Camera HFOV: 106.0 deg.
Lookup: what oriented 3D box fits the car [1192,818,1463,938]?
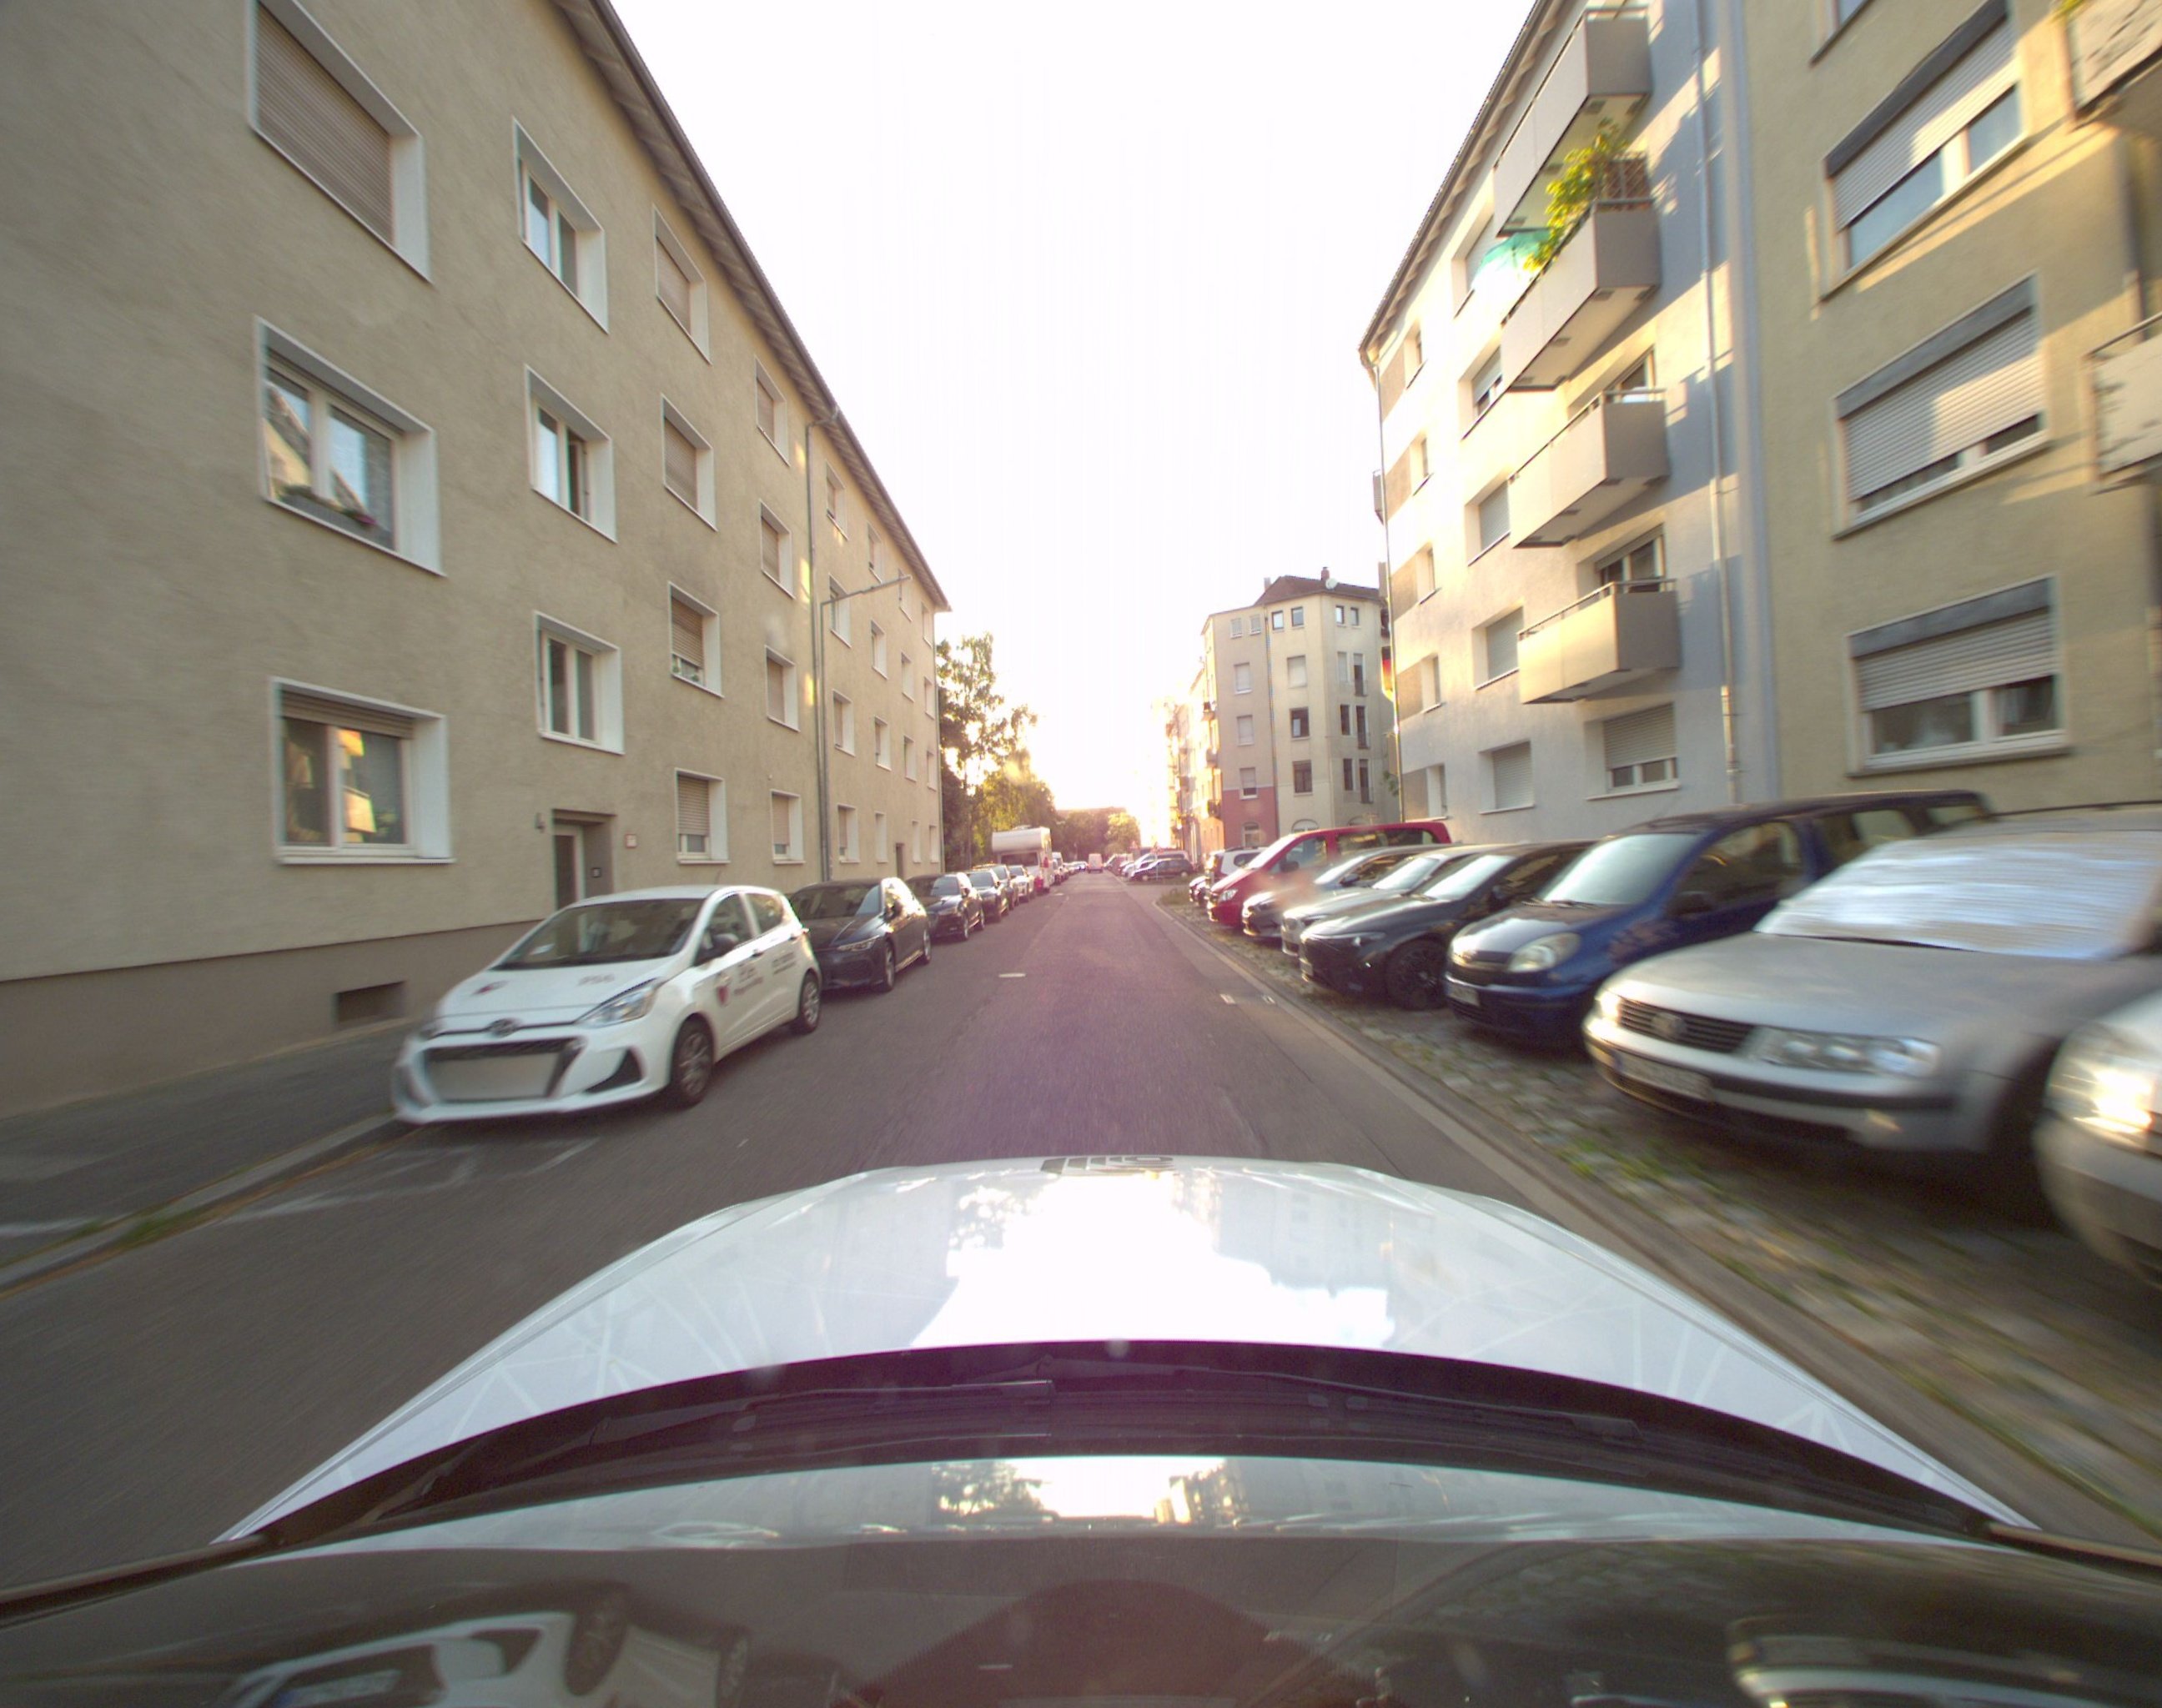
[{"bbox_3d":[4.759,0.450,16.299,4.707,1.909,2.059,-4,-1,0],"label":"car"}]

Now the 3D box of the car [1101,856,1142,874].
[{"bbox_3d":[4.016,1.122,81.067,3.974,1.530,1.659,-4,0,0],"label":"car"}]

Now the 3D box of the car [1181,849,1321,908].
[{"bbox_3d":[5.017,0.713,24.375,3.799,1.428,1.634,-4,-1,0],"label":"car"}]

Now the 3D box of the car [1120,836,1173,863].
[{"bbox_3d":[5.291,-0.372,65.821,3.978,2.013,1.998,-3,0,-3],"label":"car"}]

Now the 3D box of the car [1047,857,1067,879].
[{"bbox_3d":[-2.137,1.243,73.740,1.648,1.830,3.875,-4,0,-1],"label":"car"}]

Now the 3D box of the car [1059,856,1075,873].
[{"bbox_3d":[-1.661,1.252,97.156,1.648,1.830,3.875,-4,0,-1],"label":"car"}]

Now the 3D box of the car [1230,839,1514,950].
[{"bbox_3d":[4.766,0.647,13.744,4.132,1.471,1.636,-4,-1,0],"label":"car"}]

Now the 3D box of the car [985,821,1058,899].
[{"bbox_3d":[-2.748,0.248,39.897,2.610,3.268,7.699,-4,0,1],"label":"car"}]

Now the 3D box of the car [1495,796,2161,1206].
[{"bbox_3d":[4.497,0.526,4.069,3.941,1.522,1.706,-3,0,1],"label":"car"}]

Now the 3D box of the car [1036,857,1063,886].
[{"bbox_3d":[-2.162,1.202,56.829,1.648,1.830,3.875,-4,0,-1],"label":"car"}]

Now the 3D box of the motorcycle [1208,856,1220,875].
[{"bbox_3d":[9.150,0.768,56.186,0.515,1.228,1.981,-2,0,1],"label":"motorcycle"}]

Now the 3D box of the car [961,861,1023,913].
[{"bbox_3d":[-3.043,1.086,28.420,1.648,1.564,3.875,-4,0,-1],"label":"car"}]

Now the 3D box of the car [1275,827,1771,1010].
[{"bbox_3d":[4.430,0.630,8.650,4.293,1.449,1.655,-4,-1,1],"label":"car"}]

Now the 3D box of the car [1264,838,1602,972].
[{"bbox_3d":[4.662,0.647,11.167,3.864,1.416,1.635,-4,-1,-1],"label":"car"}]

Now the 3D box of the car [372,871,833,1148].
[{"bbox_3d":[-3.397,0.965,6.635,1.611,1.473,3.504,-4,0,-1],"label":"car"}]

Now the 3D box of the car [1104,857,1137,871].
[{"bbox_3d":[4.931,1.248,101.639,3.974,1.530,1.659,-4,0,0],"label":"car"}]

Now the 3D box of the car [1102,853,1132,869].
[{"bbox_3d":[5.918,1.200,135.789,4.797,2.408,1.739,-4,0,0],"label":"car"}]

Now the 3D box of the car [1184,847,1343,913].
[{"bbox_3d":[4.788,0.677,21.699,3.799,1.428,1.634,-4,-1,0],"label":"car"}]

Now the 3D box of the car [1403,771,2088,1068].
[{"bbox_3d":[4.718,0.440,6.223,3.777,1.695,1.655,-4,-1,1],"label":"car"}]

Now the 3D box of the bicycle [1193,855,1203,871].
[{"bbox_3d":[9.551,0.730,66.722,0.515,1.228,1.981,-2,0,1],"label":"bicycle"}]

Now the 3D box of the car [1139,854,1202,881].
[{"bbox_3d":[6.029,0.922,54.978,3.974,1.530,1.659,-4,0,0],"label":"car"}]

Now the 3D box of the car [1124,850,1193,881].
[{"bbox_3d":[5.601,0.832,59.602,4.797,1.967,1.739,-4,0,0],"label":"car"}]

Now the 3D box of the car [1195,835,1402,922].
[{"bbox_3d":[5.003,0.561,19.153,4.310,1.637,1.818,-4,-1,0],"label":"car"}]

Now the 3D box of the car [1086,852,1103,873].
[{"bbox_3d":[1.885,1.136,114.163,2.122,2.717,4.831,-4,0,-1],"label":"car"}]

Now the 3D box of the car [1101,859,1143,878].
[{"bbox_3d":[3.983,1.370,79.224,3.974,1.530,1.659,-4,0,0],"label":"car"}]

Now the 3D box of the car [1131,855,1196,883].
[{"bbox_3d":[5.274,0.977,52.663,3.974,1.530,1.659,-4,0,0],"label":"car"}]

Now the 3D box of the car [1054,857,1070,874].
[{"bbox_3d":[-2.155,1.284,92.174,1.648,1.830,3.875,-4,0,-1],"label":"car"}]

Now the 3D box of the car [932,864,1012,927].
[{"bbox_3d":[-2.942,1.087,22.682,1.648,1.434,3.875,-4,0,-1],"label":"car"}]

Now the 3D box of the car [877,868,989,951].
[{"bbox_3d":[-3.074,1.099,17.631,1.648,1.434,3.795,-4,0,-1],"label":"car"}]

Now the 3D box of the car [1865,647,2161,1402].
[{"bbox_3d":[4.769,0.337,1.824,4.264,1.860,1.742,-2,-1,1],"label":"car"}]

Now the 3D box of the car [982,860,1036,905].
[{"bbox_3d":[-2.810,1.067,32.463,1.647,1.541,3.877,-4,0,1],"label":"car"}]

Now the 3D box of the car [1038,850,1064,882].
[{"bbox_3d":[-2.431,0.973,67.302,1.764,2.445,5.143,-4,0,0],"label":"car"}]

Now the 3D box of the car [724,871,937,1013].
[{"bbox_3d":[-3.222,1.050,11.343,1.654,1.434,4.030,-4,0,-1],"label":"car"}]
